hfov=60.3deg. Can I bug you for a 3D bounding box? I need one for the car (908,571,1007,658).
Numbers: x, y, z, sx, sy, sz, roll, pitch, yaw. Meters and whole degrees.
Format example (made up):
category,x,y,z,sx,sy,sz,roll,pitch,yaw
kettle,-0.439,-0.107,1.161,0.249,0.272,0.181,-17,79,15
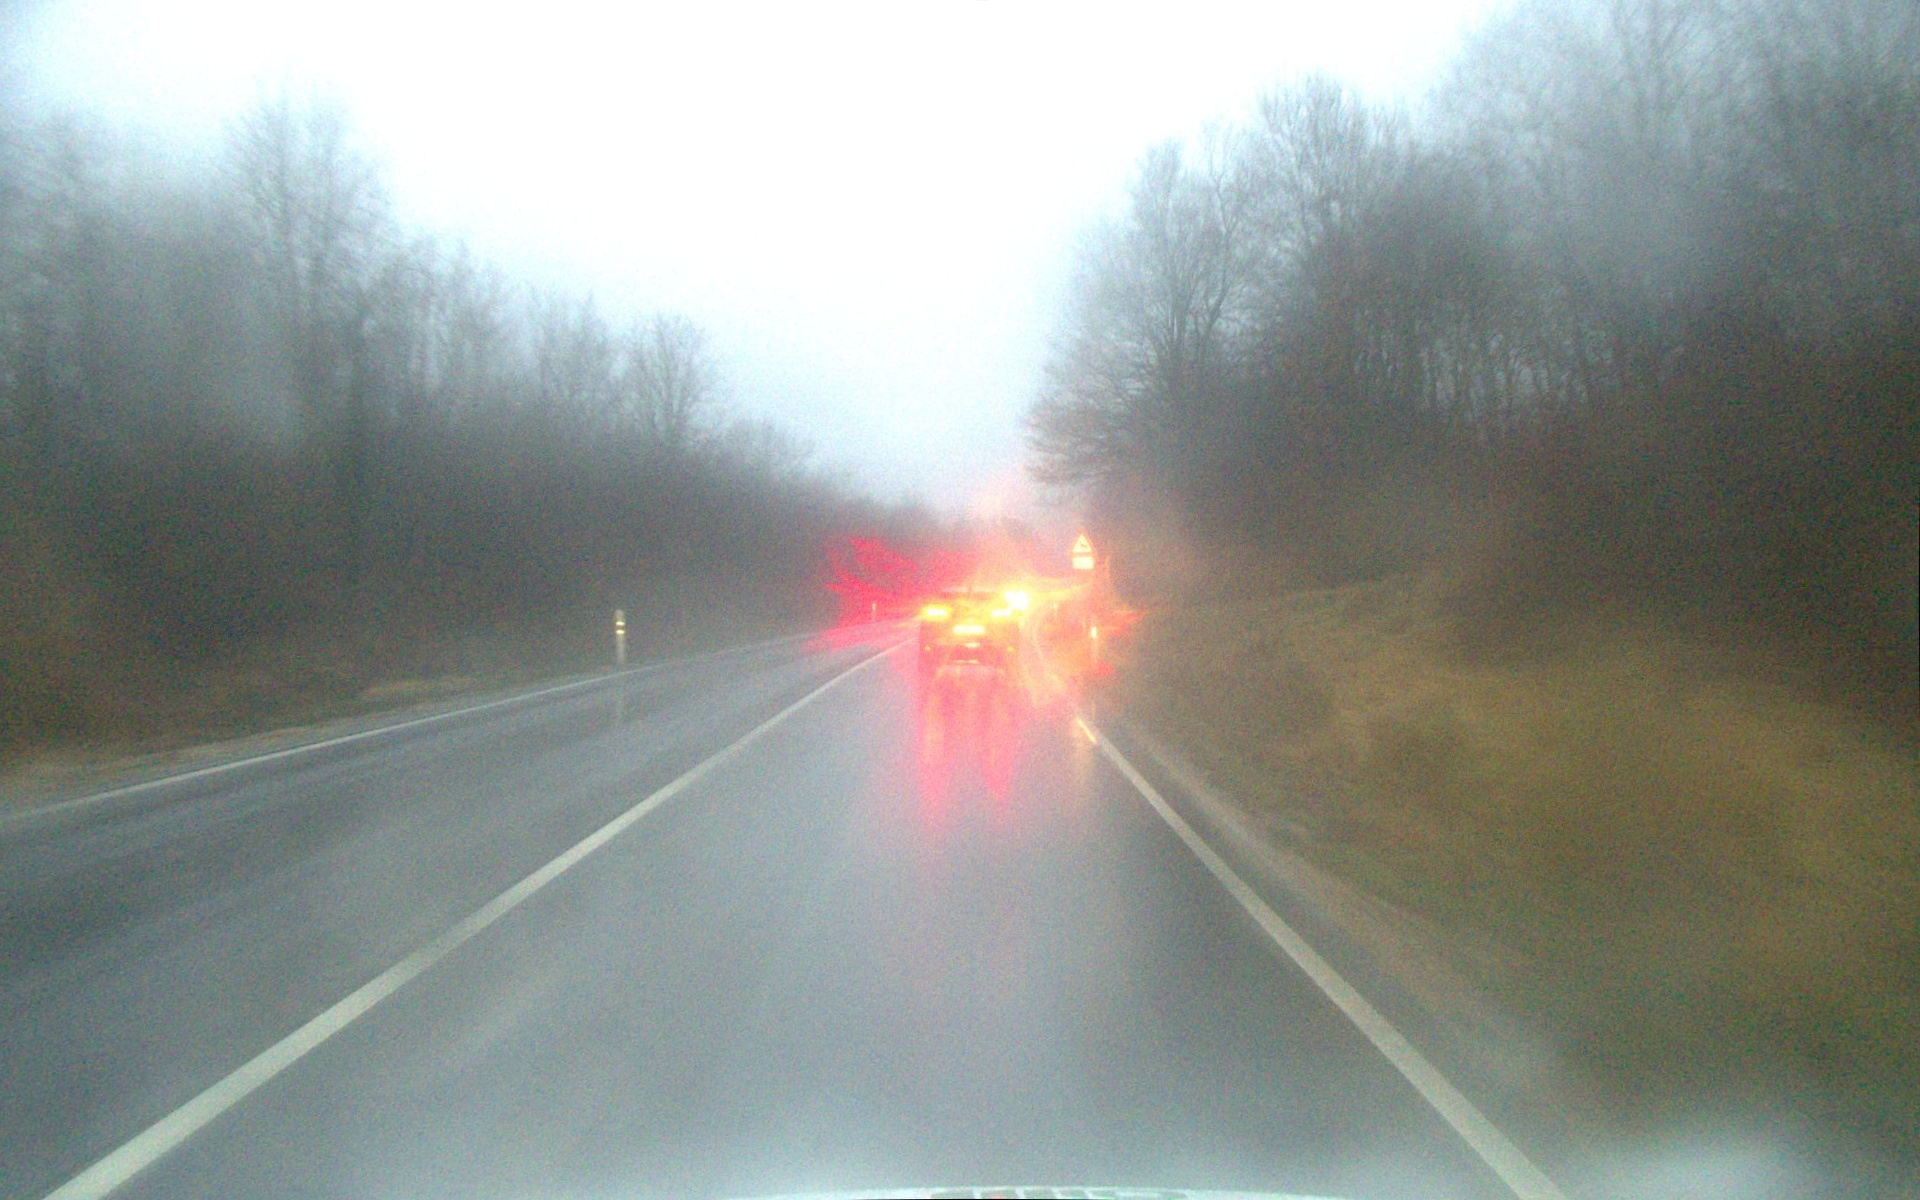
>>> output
category,x,y,z,sx,sy,sz,roll,pitch,yaw
car,0.004,0.234,29.557,1.644,1.414,4.099,-1,0,1
